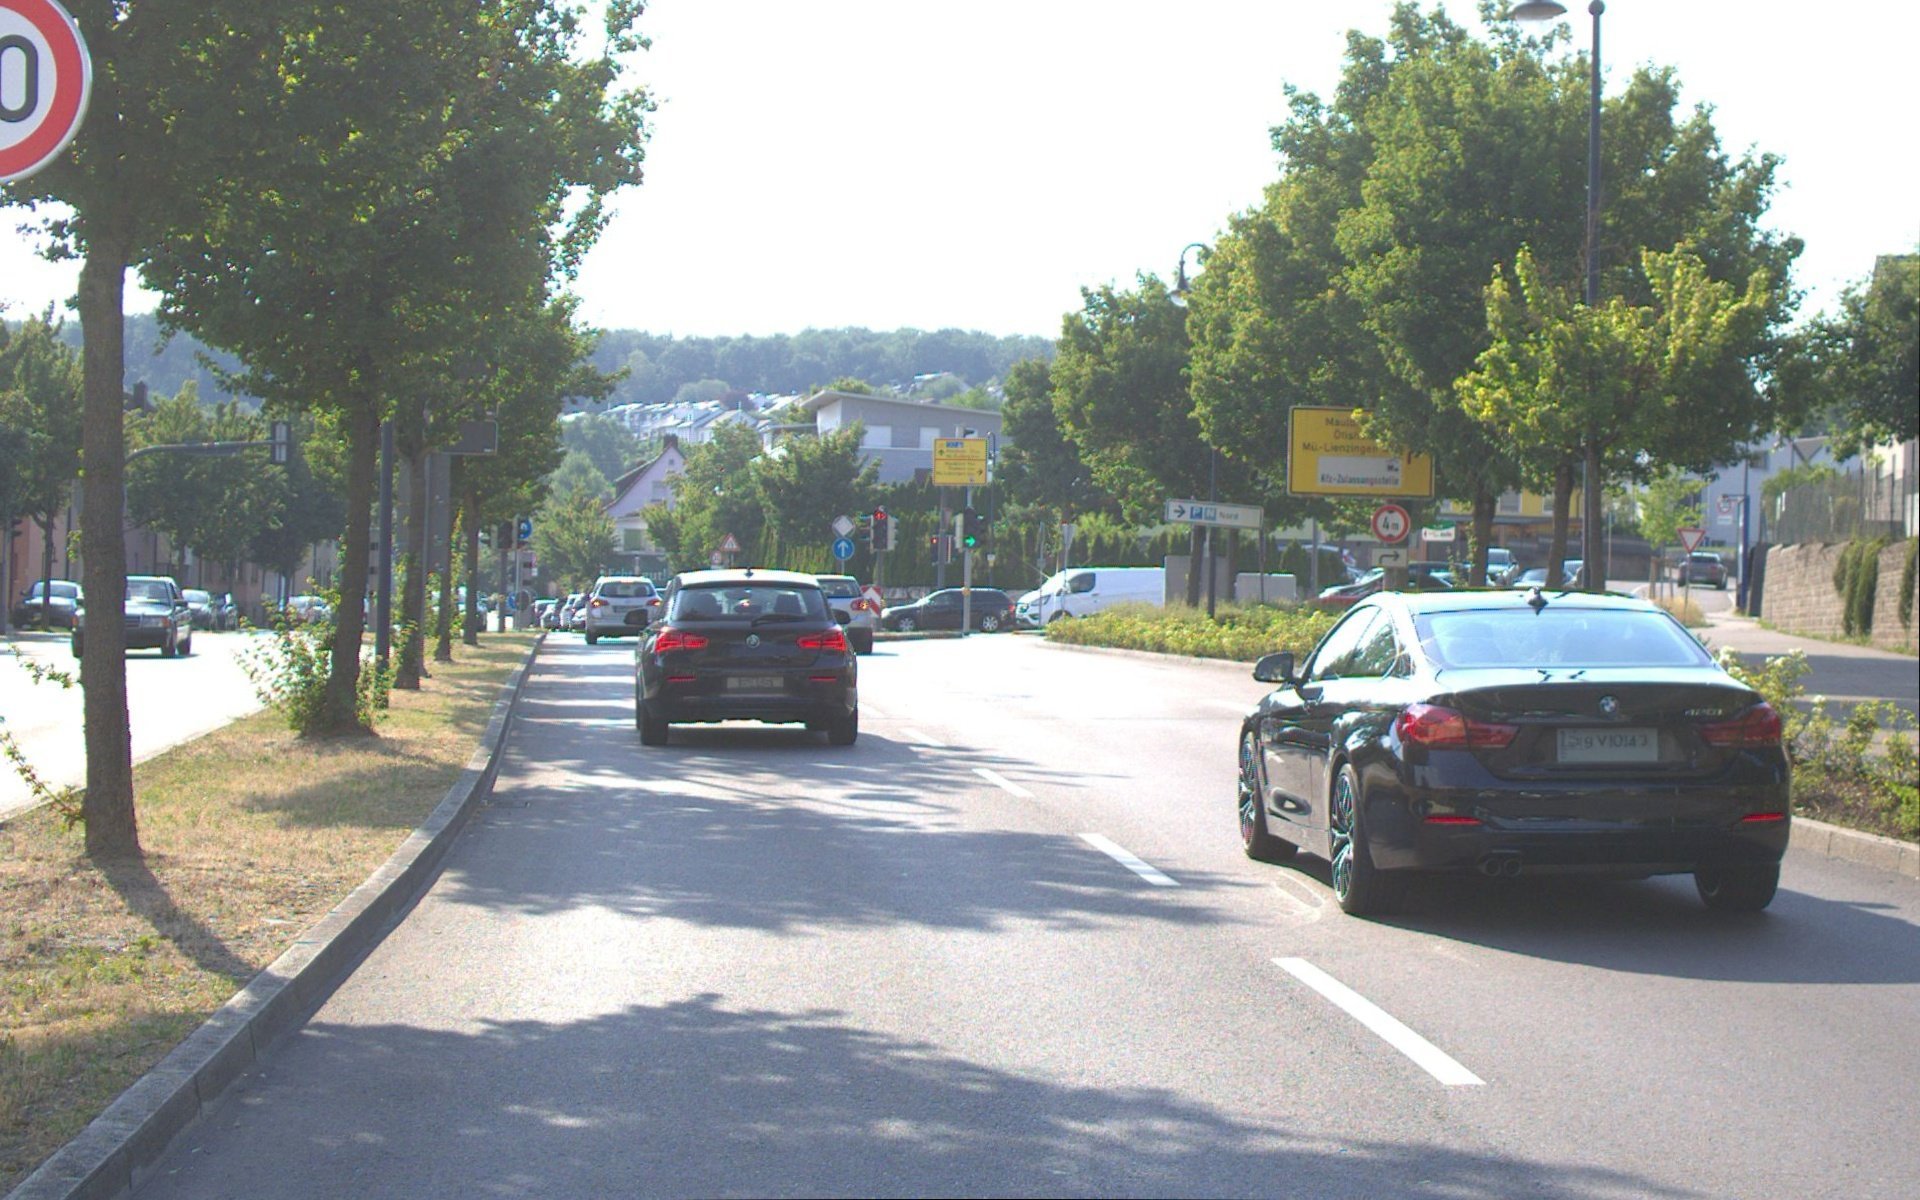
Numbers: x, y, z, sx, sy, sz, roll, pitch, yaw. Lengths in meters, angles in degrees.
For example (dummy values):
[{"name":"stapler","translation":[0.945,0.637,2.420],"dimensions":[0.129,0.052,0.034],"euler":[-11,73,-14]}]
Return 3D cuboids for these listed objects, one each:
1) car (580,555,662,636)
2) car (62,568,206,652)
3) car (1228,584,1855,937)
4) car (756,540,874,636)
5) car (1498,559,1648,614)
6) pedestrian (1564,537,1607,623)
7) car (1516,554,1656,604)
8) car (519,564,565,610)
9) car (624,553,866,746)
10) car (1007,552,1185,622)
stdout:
[{"name":"car","translation":[-7.668,-0.119,77.509],"dimensions":[1.755,1.763,3.972],"euler":[0,1,-7]},{"name":"car","translation":[-14.041,0.144,58.666],"dimensions":[1.756,1.356,4.485],"euler":[0,1,-5]},{"name":"car","translation":[2.447,0.616,15.625],"dimensions":[1.920,1.359,4.353],"euler":[0,1,-3]},{"name":"car","translation":[-2.805,-0.251,65.672],"dimensions":[1.925,1.763,4.455],"euler":[0,1,-7]},{"name":"car","translation":[20.841,-0.470,116.918],"dimensions":[4.629,1.823,2.001],"euler":[0,1,-9]},{"name":"pedestrian","translation":[12.424,-0.393,68.322],"dimensions":[0.696,1.697,0.950],"euler":[0,1,2]},{"name":"car","translation":[22.773,-0.767,125.154],"dimensions":[4.629,1.823,2.001],"euler":[0,1,-9]},{"name":"car","translation":[-19.090,-0.614,157.066],"dimensions":[1.772,2.007,4.001],"euler":[0,1,-2]},{"name":"car","translation":[-1.753,0.360,29.223],"dimensions":[1.721,1.485,4.353],"euler":[1,1,1]},{"name":"car","translation":[4.193,-0.413,106.251],"dimensions":[5.106,2.122,2.147],"euler":[0,1,-14]}]
